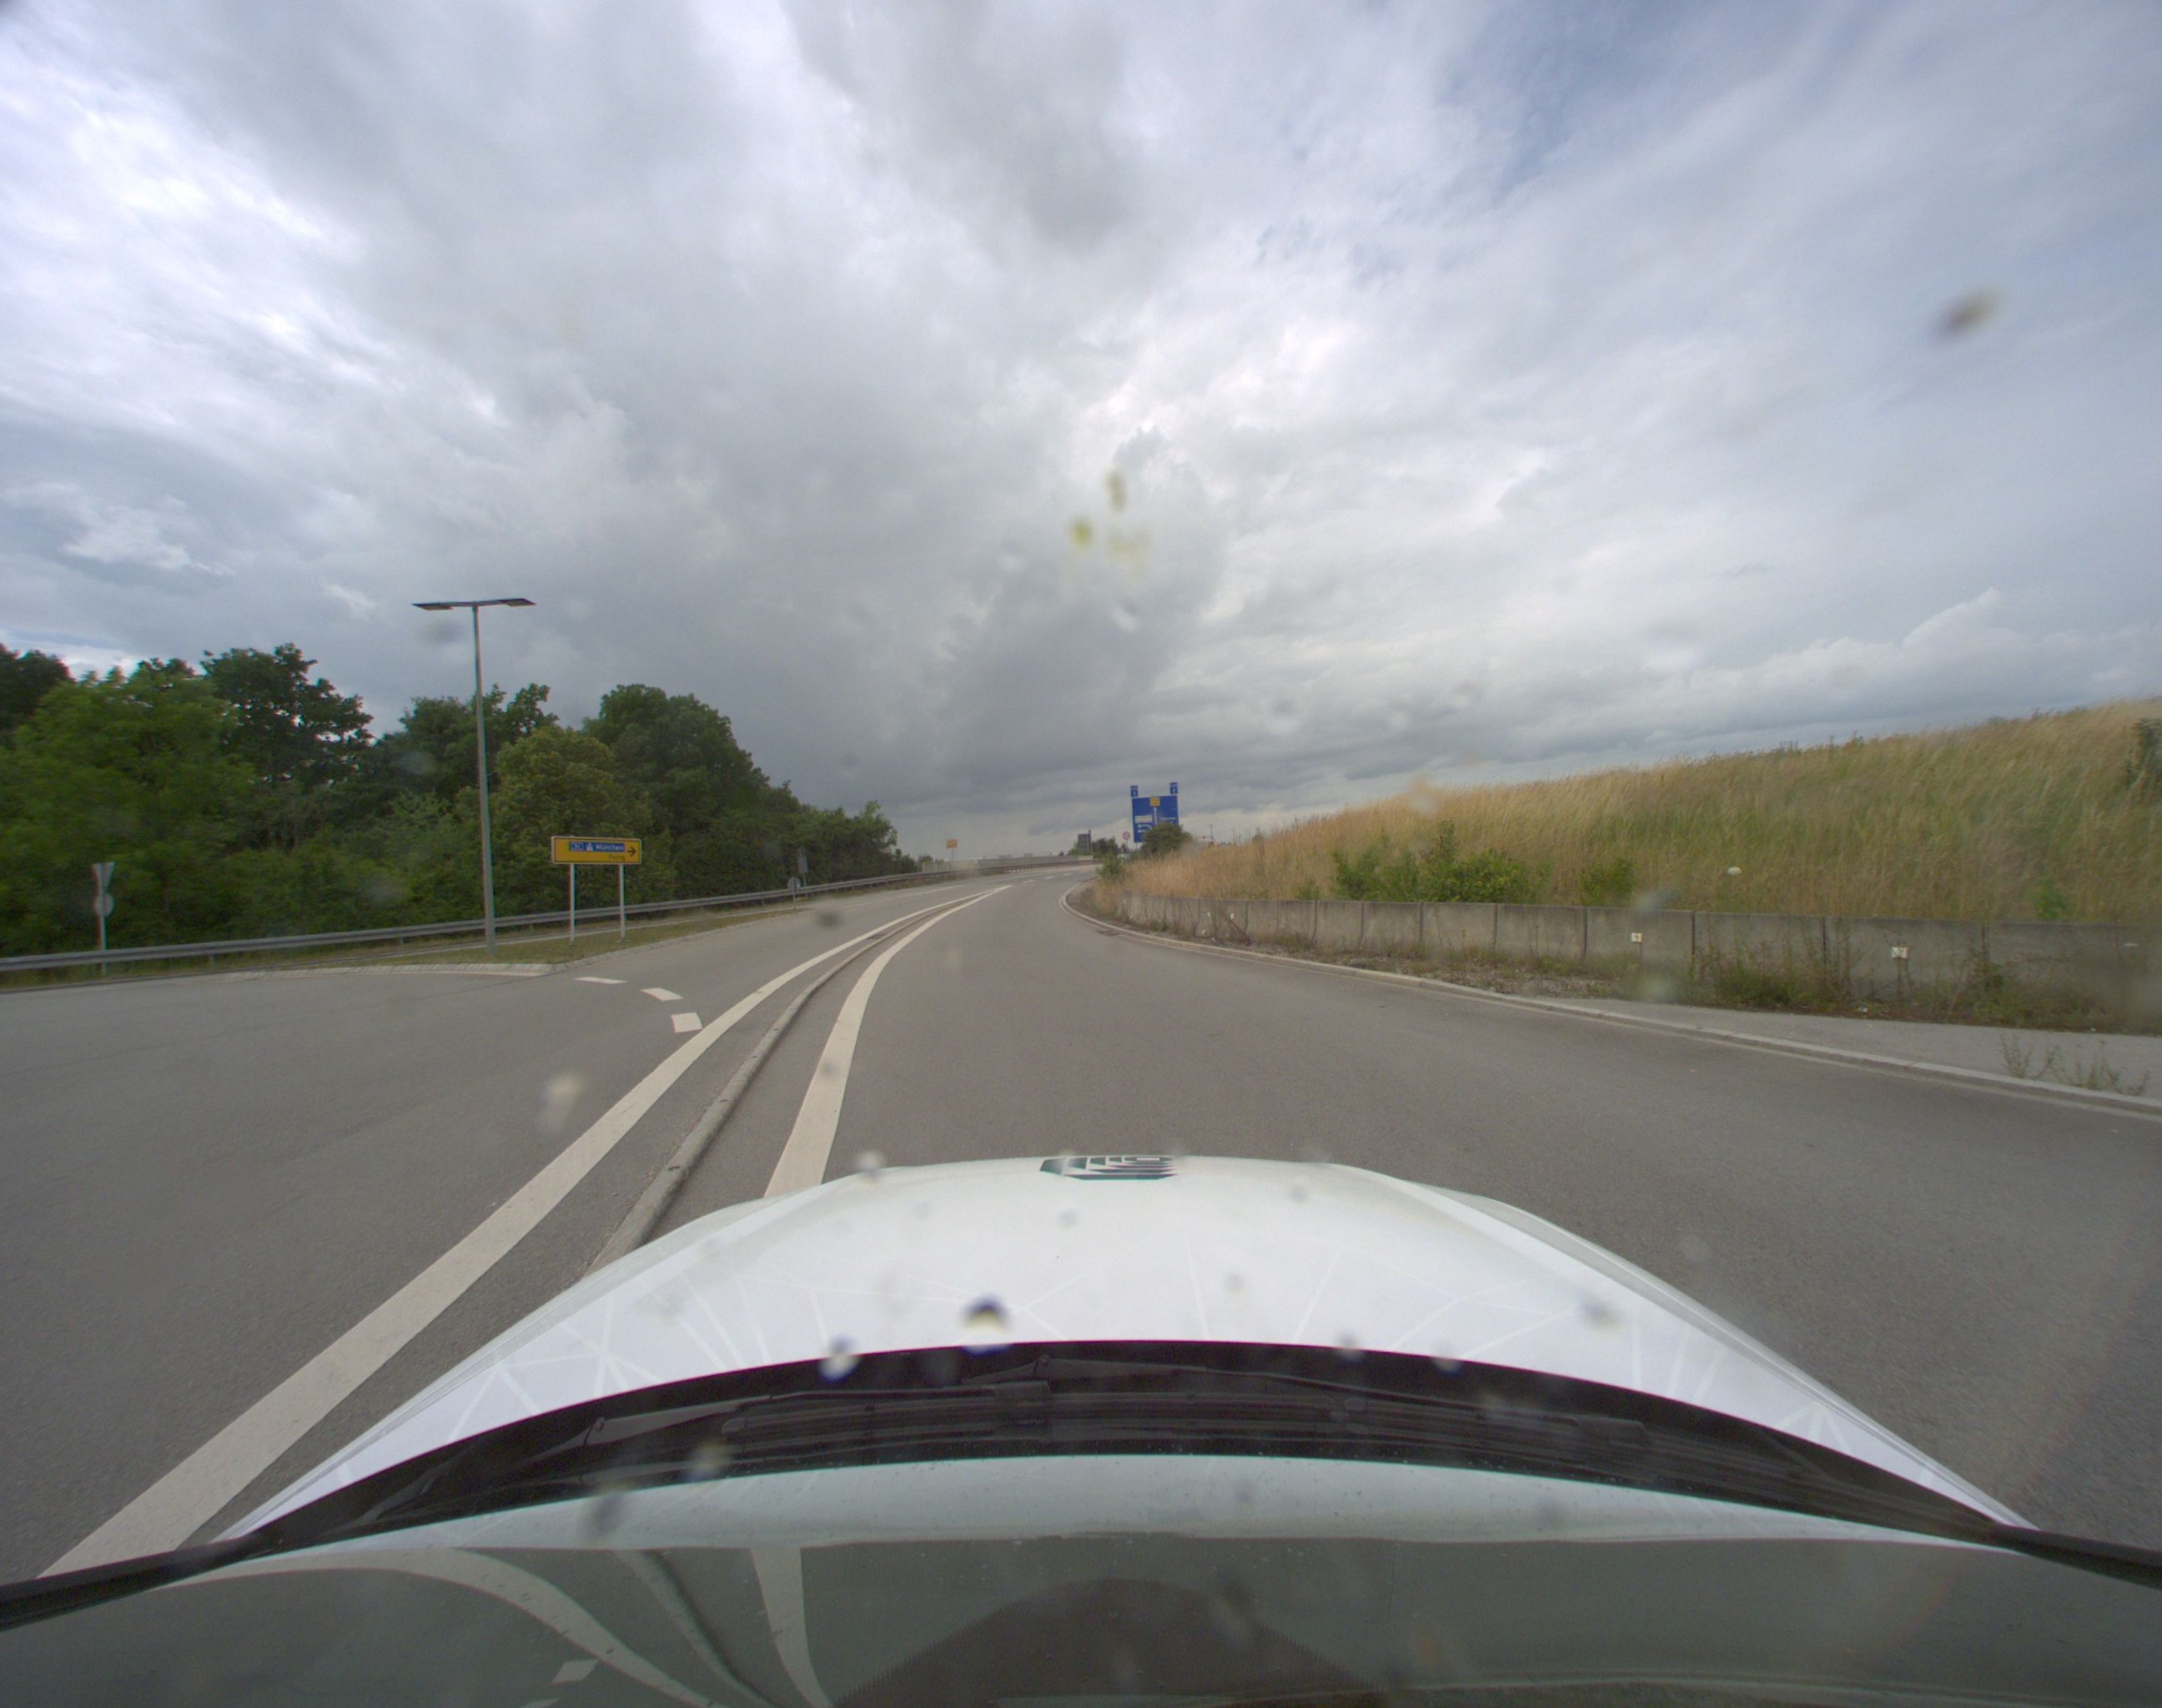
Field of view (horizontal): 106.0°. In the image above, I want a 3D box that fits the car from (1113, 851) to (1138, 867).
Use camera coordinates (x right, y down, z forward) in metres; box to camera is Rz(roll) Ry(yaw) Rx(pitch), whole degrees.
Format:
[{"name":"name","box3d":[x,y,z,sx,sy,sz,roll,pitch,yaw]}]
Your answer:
[{"name":"car","box3d":[4.509,0.526,82.530,1.506,1.485,3.633,-3,-1,18]}]
